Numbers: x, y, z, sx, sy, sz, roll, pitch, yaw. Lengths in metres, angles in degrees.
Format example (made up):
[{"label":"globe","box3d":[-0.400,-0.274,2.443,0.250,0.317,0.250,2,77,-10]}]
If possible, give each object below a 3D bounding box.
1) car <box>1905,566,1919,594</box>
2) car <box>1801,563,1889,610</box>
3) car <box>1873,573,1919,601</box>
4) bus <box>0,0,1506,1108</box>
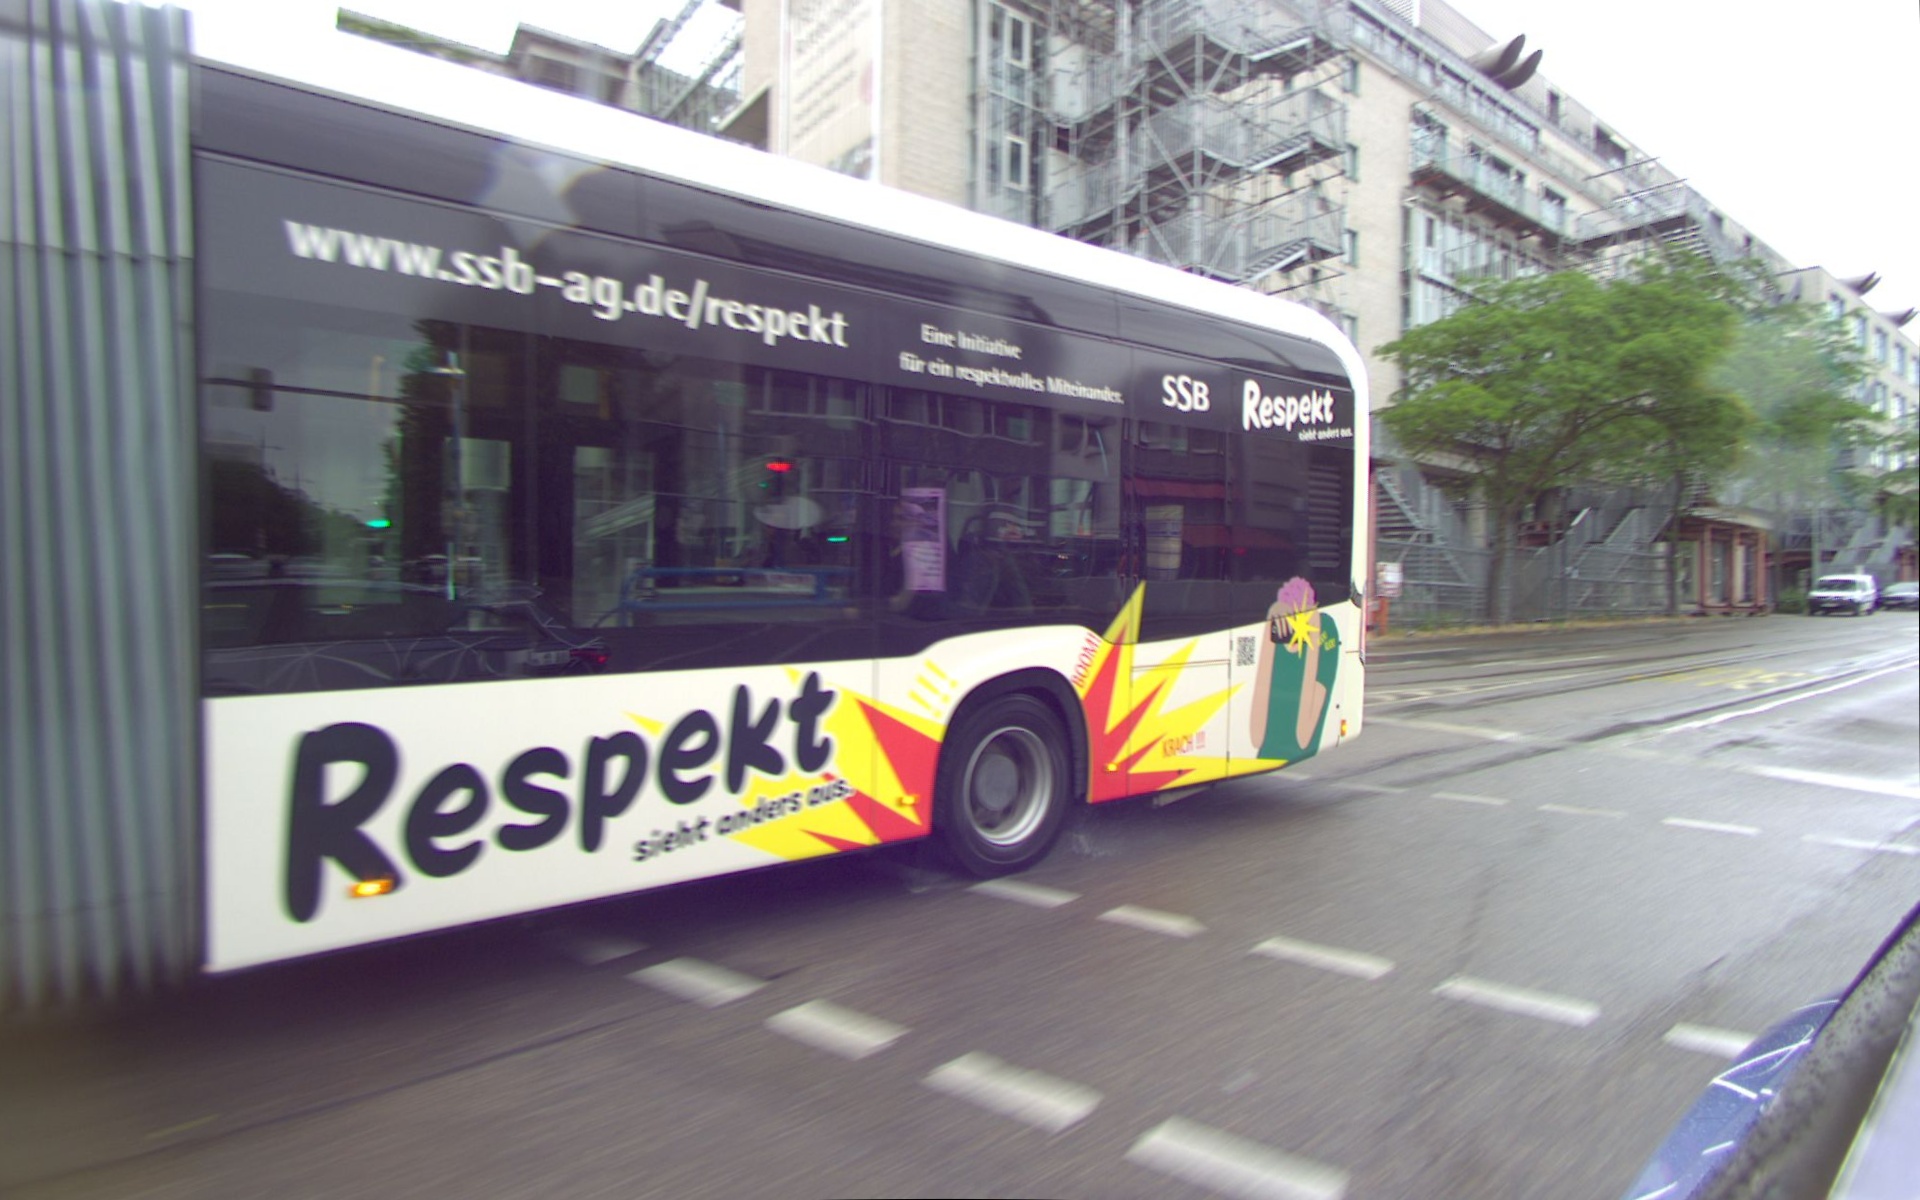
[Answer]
[{"label":"car","box3d":[53.739,-1.119,55.498,4.730,1.513,2.147,-2,2,-39]},{"label":"car","box3d":[39.076,-0.619,44.670,4.252,1.930,2.213,-2,2,-39]},{"label":"car","box3d":[48.408,-0.687,51.488,4.730,1.353,2.147,-2,2,-39]},{"label":"bus","box3d":[-0.377,-0.401,6.203,9.530,3.483,2.891,0,0,-37]}]
